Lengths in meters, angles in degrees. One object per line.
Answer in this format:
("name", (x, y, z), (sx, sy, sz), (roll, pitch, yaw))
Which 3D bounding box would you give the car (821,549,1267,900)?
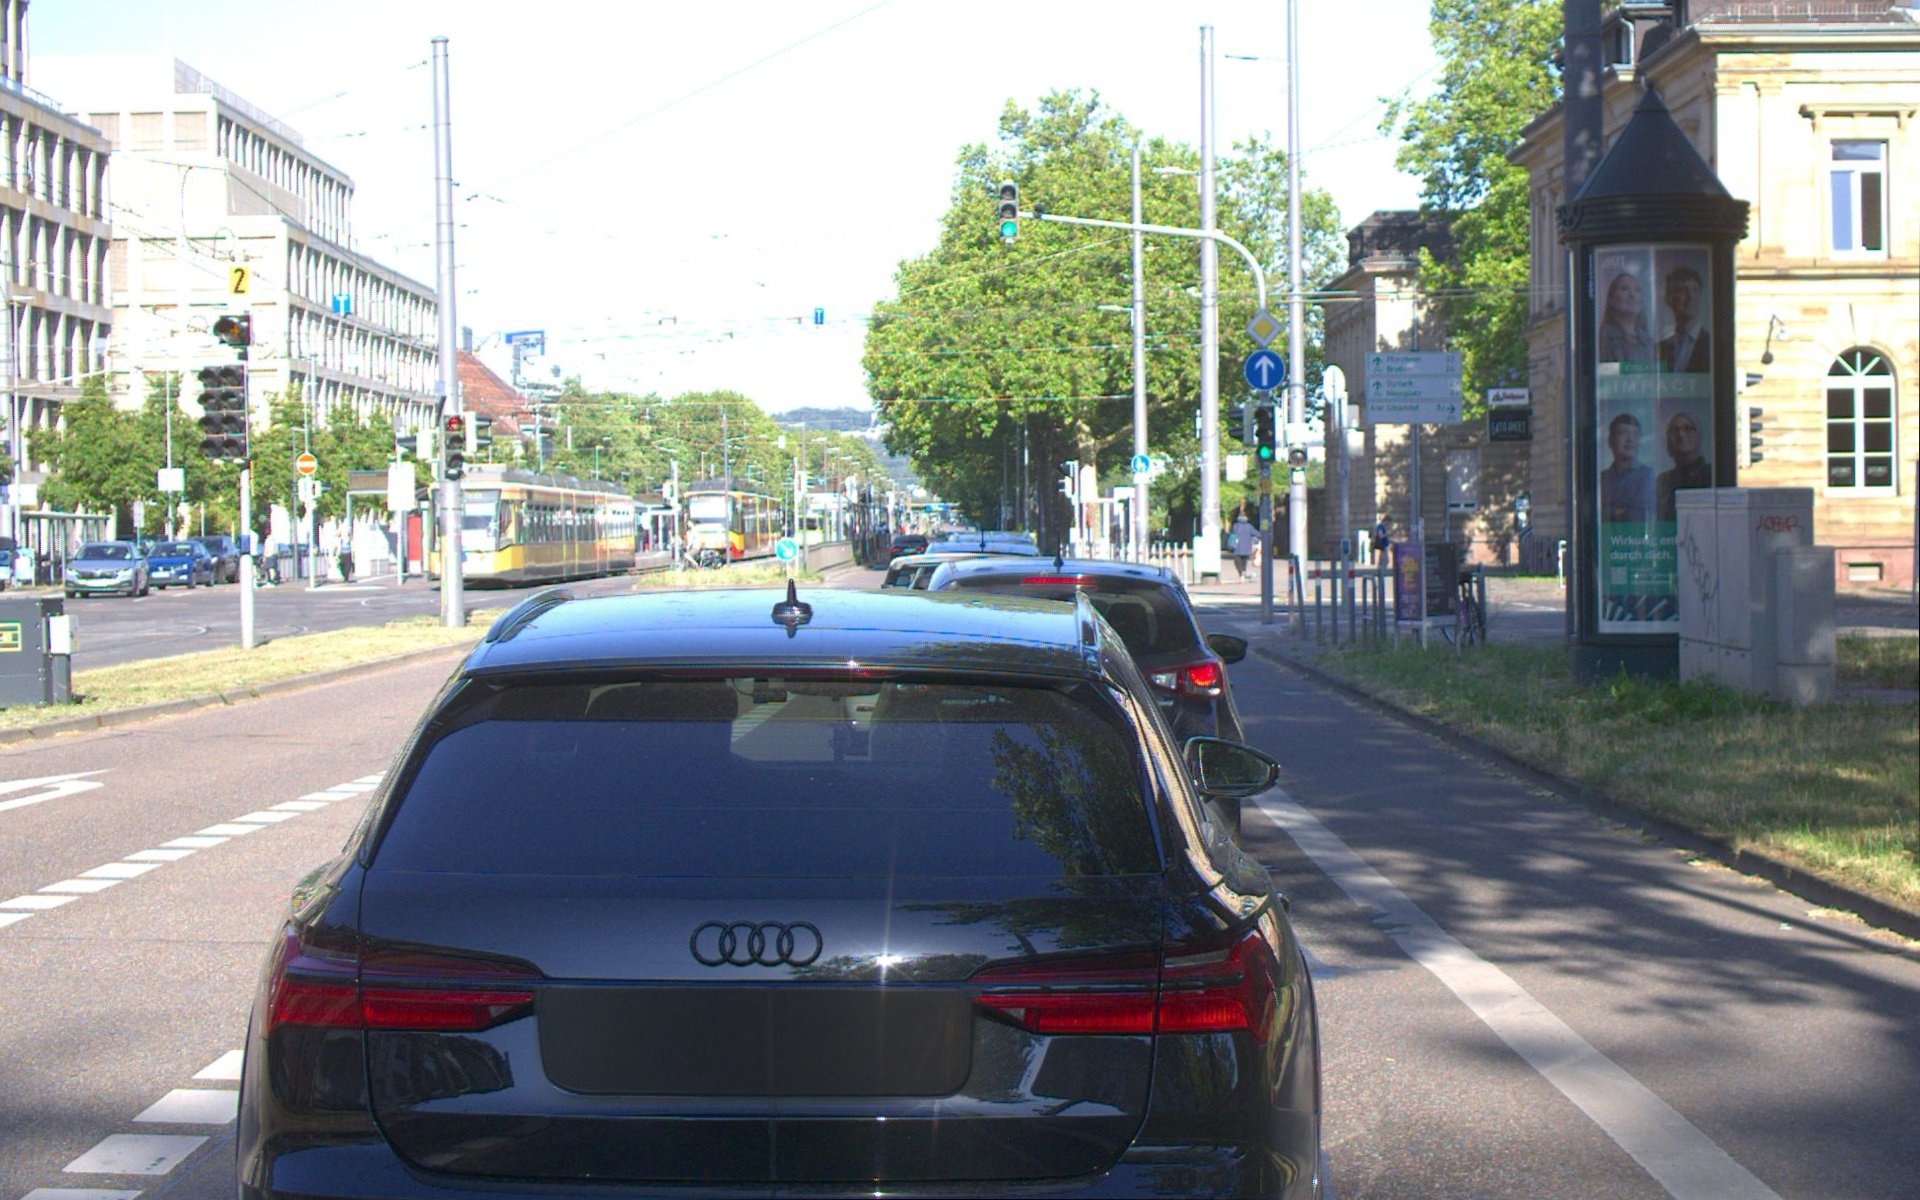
("car", (0.372, 0.505, 16.872), (1.902, 1.481, 4.145), (1, 1, 0))

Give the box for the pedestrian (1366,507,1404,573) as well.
("pedestrian", (12.010, -1.693, 97.189), (0.979, 1.859, 0.827), (-1, 1, 0))

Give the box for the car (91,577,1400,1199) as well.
("car", (-0.307, 0.691, 7.091), (1.902, 1.417, 4.145), (1, 1, 0))

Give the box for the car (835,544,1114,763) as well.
("car", (0.110, 0.336, 25.708), (1.902, 1.481, 4.145), (1, 1, 0))

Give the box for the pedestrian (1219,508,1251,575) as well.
("pedestrian", (6.785, -1.445, 84.927), (0.682, 1.655, 0.758), (-1, 1, -2))

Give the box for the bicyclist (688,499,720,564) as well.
("bicyclist", (-7.265, -1.935, 97.421), (0.756, 1.812, 0.765), (-1, 1, -15))

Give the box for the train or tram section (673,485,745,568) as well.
("train or tram section", (-10.890, -3.223, 149.853), (2.608, 3.439, 11.134), (-1, 1, -2))

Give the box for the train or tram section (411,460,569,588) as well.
("train or tram section", (-13.611, -2.232, 100.646), (2.813, 3.477, 13.204), (-1, 1, 0))

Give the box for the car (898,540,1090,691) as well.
("car", (0.347, 0.119, 36.380), (1.902, 1.481, 4.145), (1, 1, 0))

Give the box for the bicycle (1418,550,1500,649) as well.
("bicycle", (5.522, -0.017, 38.120), (0.540, 1.058, 1.772), (-1, 1, -4))

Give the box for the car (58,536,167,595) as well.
("car", (-21.979, -0.917, 89.293), (1.820, 1.452, 4.541), (-1, 1, -2))

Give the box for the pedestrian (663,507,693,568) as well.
("pedestrian", (-8.113, -1.789, 98.902), (0.739, 1.735, 0.664), (-1, 1, -14))

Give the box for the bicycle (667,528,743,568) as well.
("bicycle", (-7.229, -1.477, 97.421), (2.005, 1.104, 0.765), (-1, 1, -15))

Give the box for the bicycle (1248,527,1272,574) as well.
("bicycle", (7.411, -1.231, 84.953), (0.434, 1.141, 1.340), (-1, 1, -2))

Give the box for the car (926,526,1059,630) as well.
("car", (0.486, -0.350, 51.719), (1.902, 1.481, 4.145), (1, 1, 0))

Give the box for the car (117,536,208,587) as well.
("car", (-23.653, -1.160, 102.069), (1.820, 1.452, 4.157), (-1, 1, -2))
